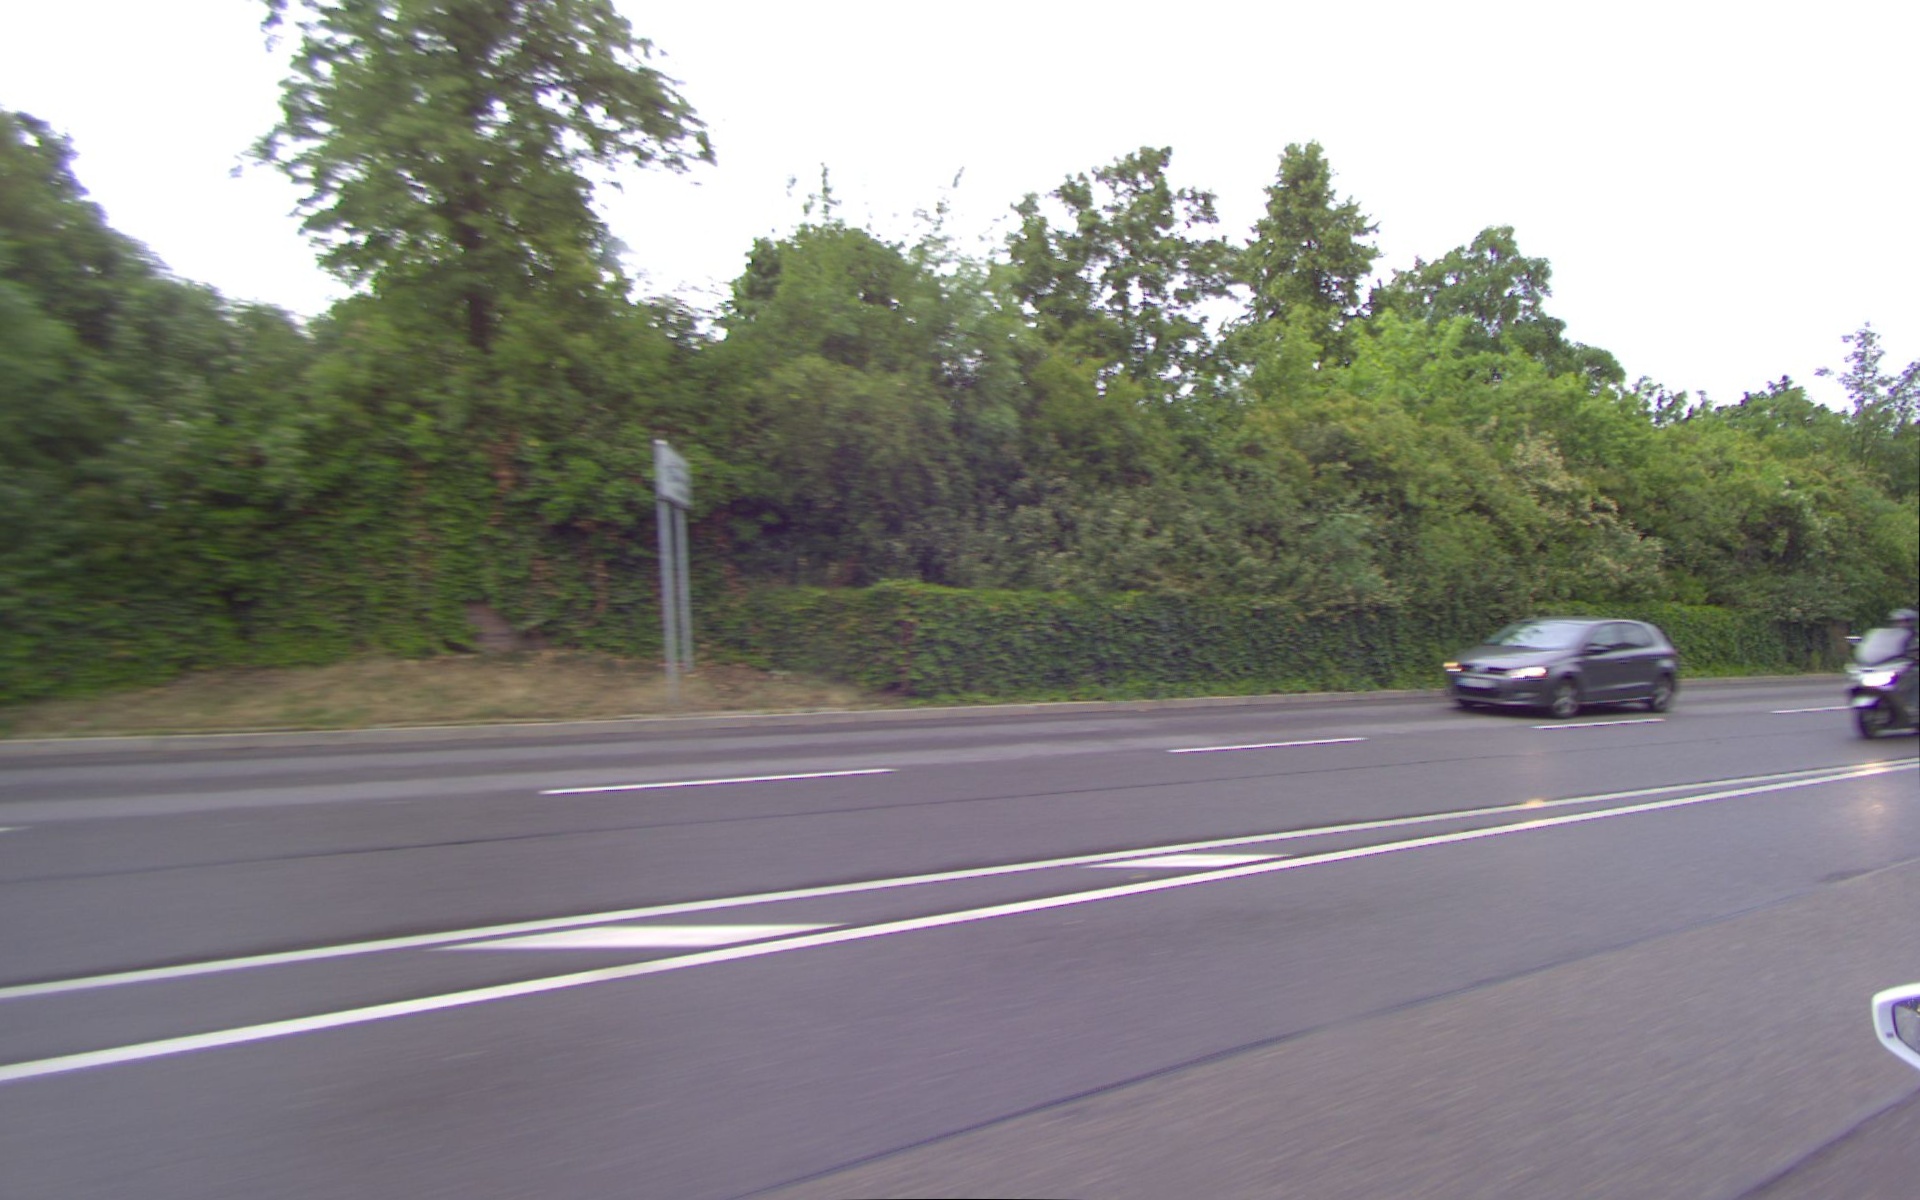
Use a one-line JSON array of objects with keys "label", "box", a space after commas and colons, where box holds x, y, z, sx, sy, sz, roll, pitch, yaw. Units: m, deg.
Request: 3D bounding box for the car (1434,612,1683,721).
[{"label": "car", "box": [9.008, 0.939, 15.082, 3.649, 1.456, 1.543, 1, 0, -28]}]

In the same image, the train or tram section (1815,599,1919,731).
[{"label": "train or tram section", "box": [12.264, 0.814, 13.146, 2.354, 1.591, 0.788, 1, 1, -28]}]

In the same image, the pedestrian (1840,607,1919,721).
[{"label": "pedestrian", "box": [12.259, 0.814, 13.150, 0.962, 1.402, 0.788, 1, 1, -28]}]
